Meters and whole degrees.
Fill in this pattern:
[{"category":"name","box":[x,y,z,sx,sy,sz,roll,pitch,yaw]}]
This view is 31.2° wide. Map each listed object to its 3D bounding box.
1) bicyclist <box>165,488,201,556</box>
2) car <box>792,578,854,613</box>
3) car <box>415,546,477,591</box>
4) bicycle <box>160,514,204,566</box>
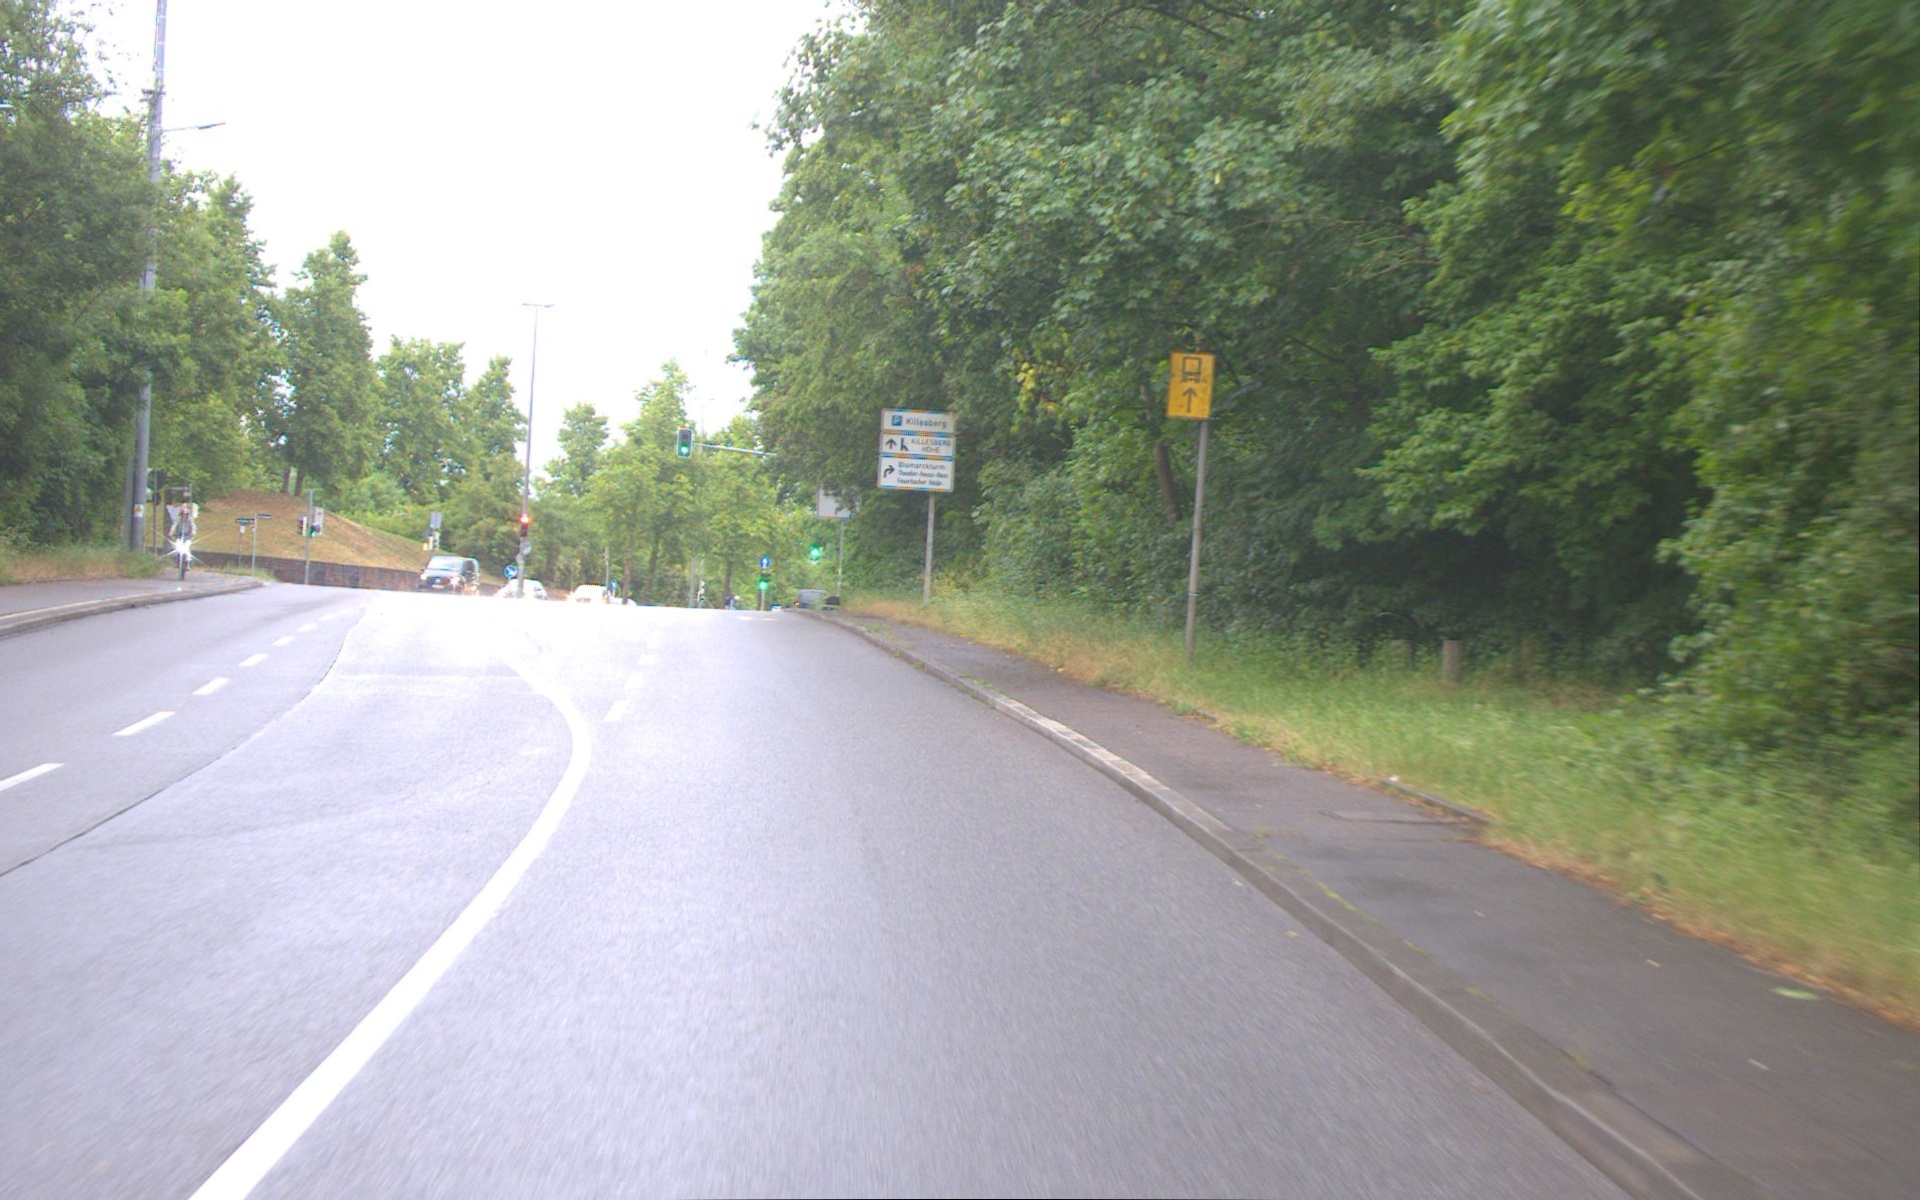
[{"category":"bicyclist","box":[-19.111,-1.913,84.599,0.704,1.639,0.951,1,1,-4]},{"category":"car","box":[-6.306,-0.231,158.960,1.936,1.493,4.316,2,1,10]},{"category":"car","box":[-22.232,-1.346,148.813,1.993,1.842,4.000,1,-1,0]},{"category":"bicycle","box":[-19.129,-1.477,84.601,0.704,1.238,2.164,1,1,-4]}]
